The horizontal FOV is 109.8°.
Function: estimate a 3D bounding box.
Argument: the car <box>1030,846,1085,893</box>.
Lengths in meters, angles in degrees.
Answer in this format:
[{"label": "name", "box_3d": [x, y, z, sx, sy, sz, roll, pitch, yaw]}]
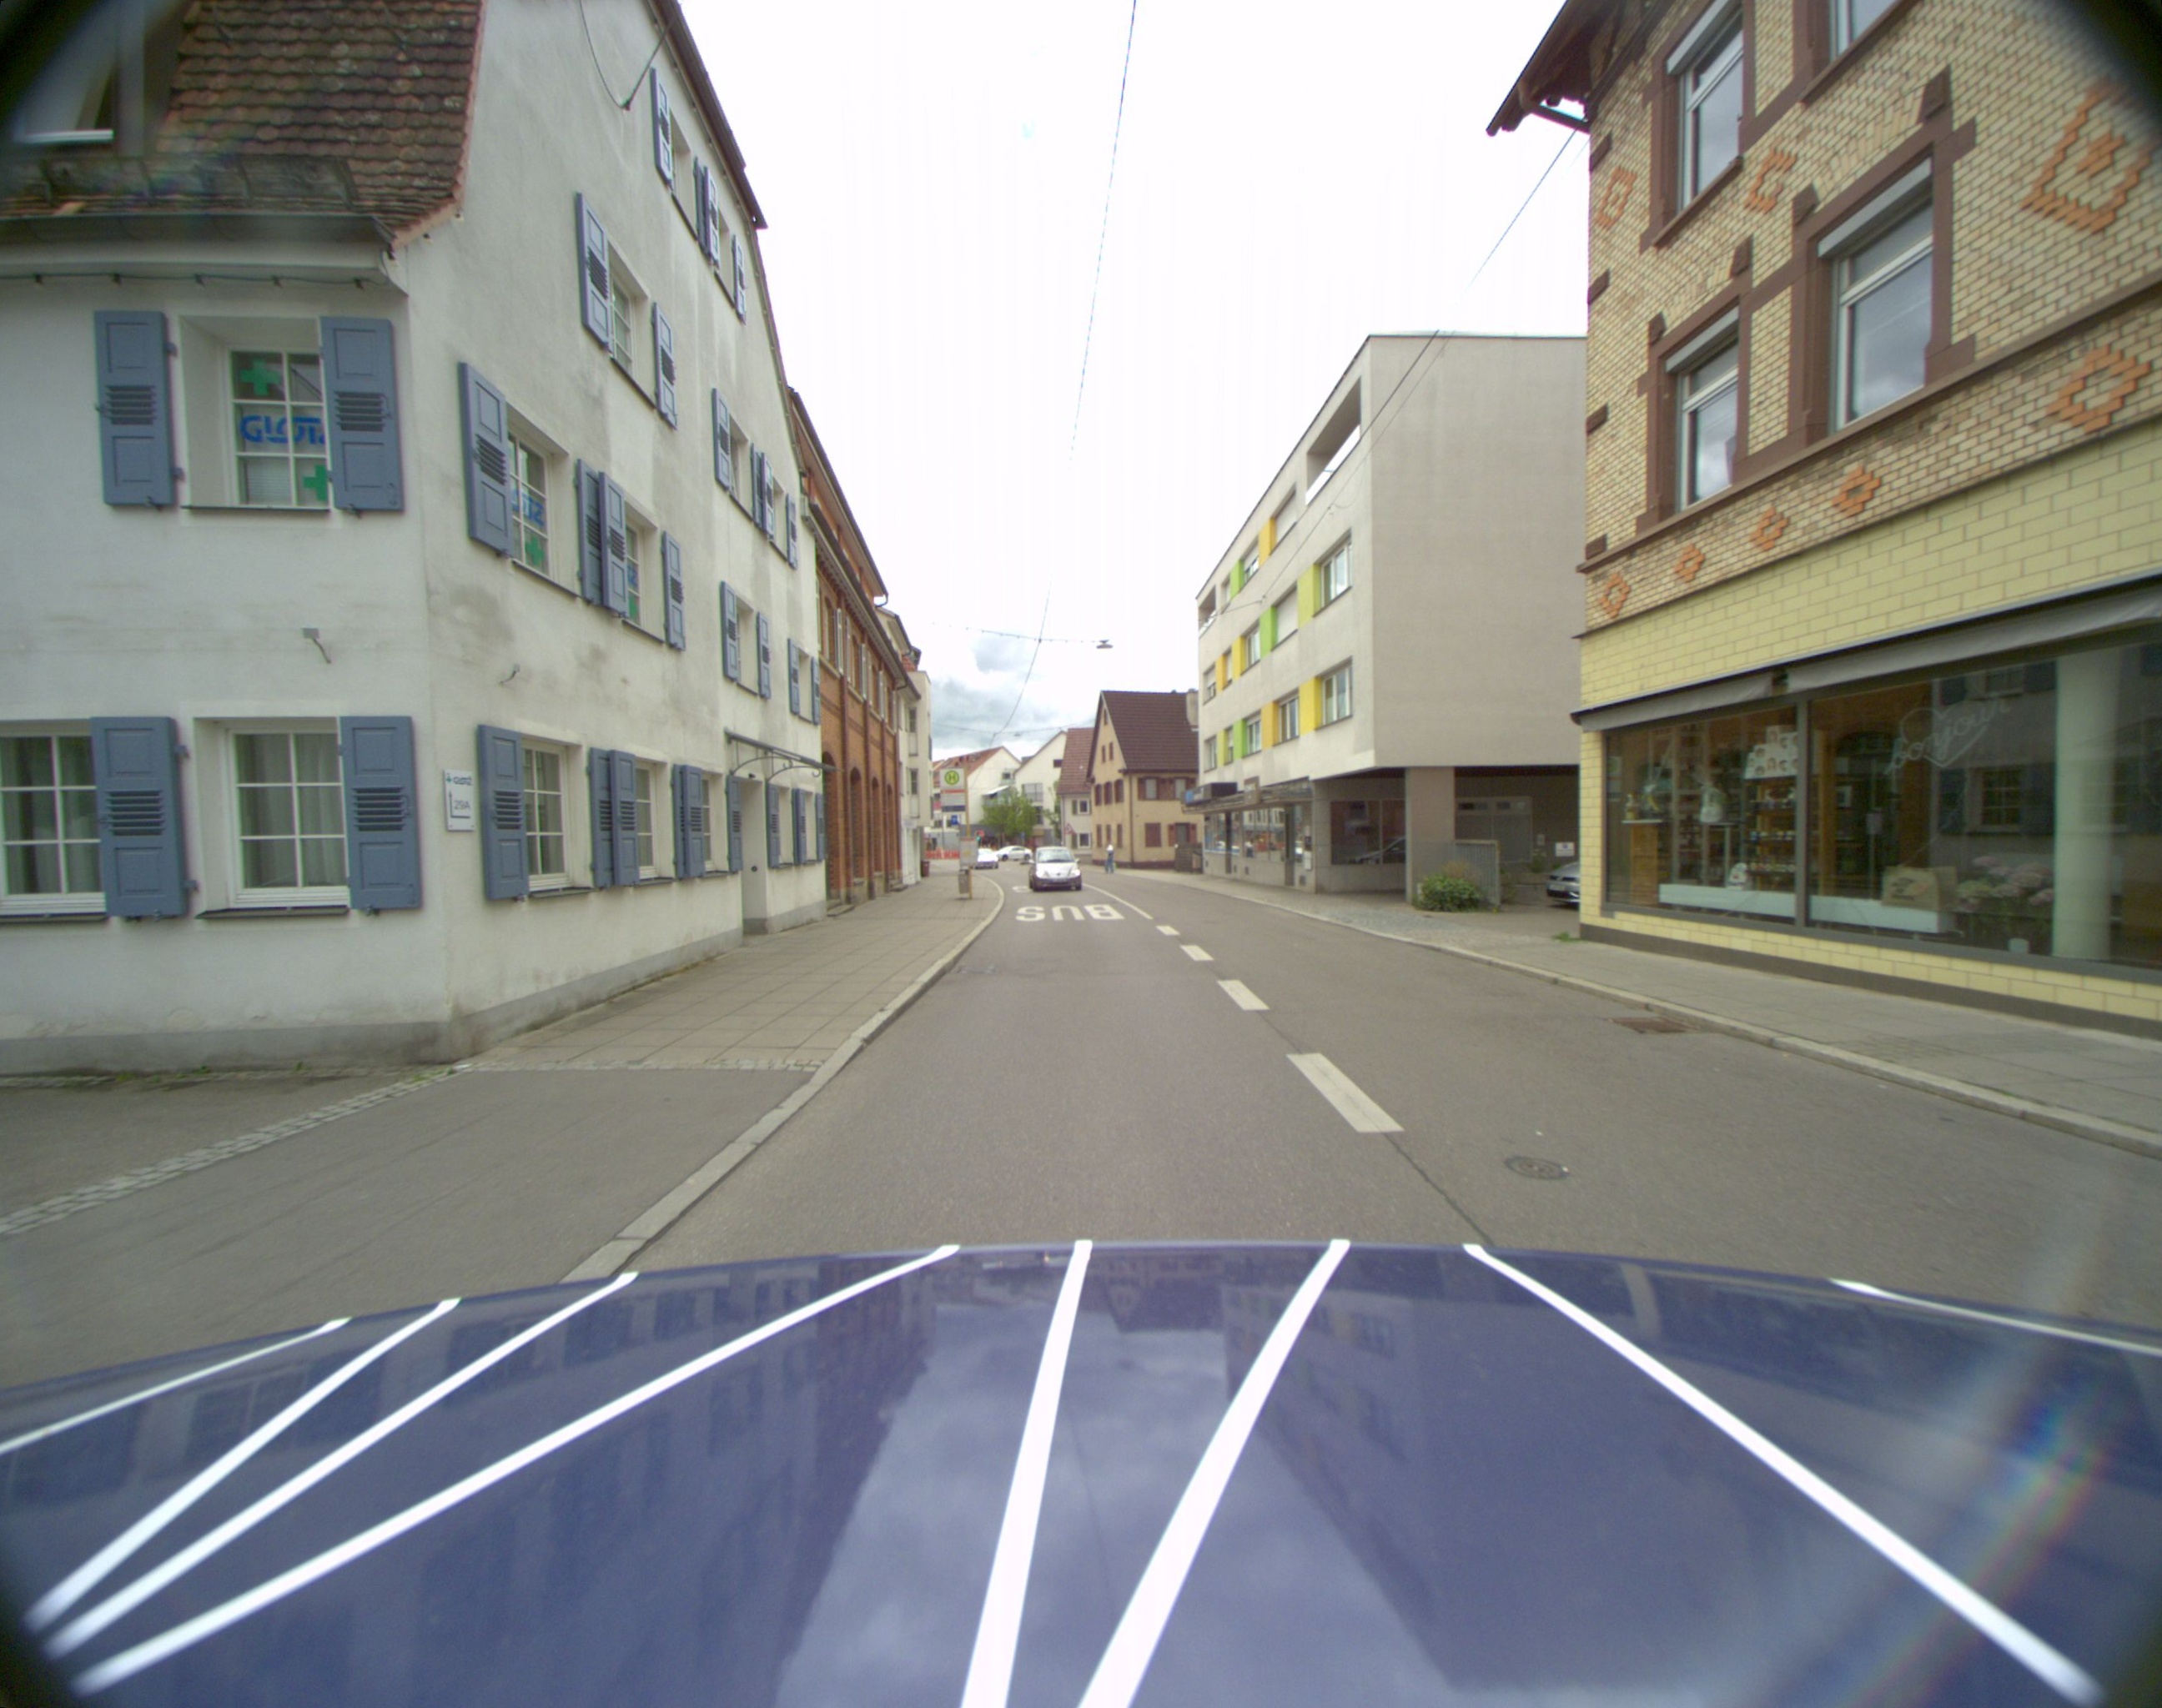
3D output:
[{"label": "car", "box_3d": [-0.909, 0.518, 28.363, 1.895, 1.618, 3.998, 0, 1, -3]}]

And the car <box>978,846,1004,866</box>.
[{"label": "car", "box_3d": [-6.638, 0.146, 55.871, 1.756, 1.347, 3.997, -2, 1, -7]}]

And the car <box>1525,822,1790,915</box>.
[{"label": "car", "box_3d": [11.672, 0.264, 15.600, 4.007, 1.652, 1.885, -2, 1, 0]}]
